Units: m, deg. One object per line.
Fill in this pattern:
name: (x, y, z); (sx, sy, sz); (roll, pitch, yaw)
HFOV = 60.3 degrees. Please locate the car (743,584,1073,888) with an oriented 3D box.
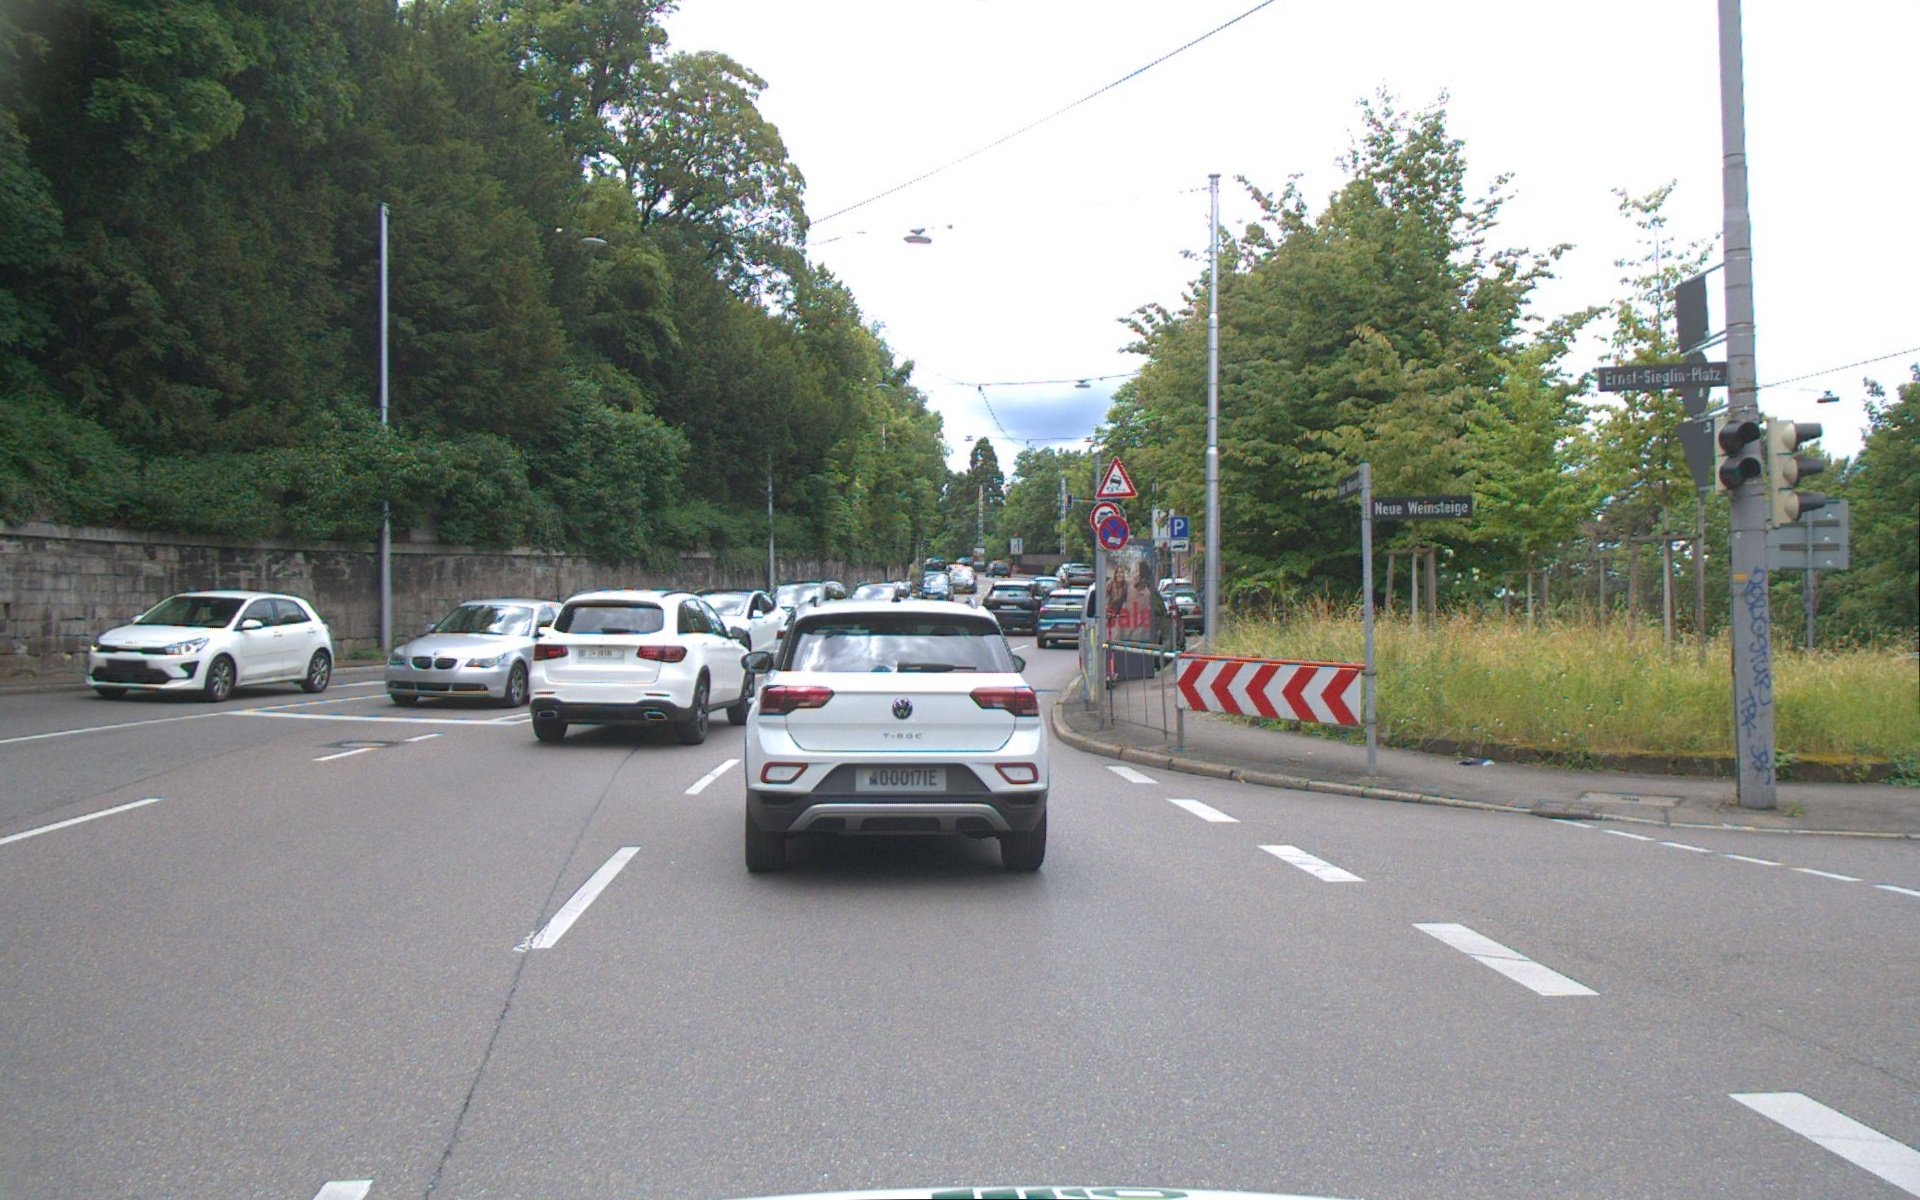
car: (-0.400, 0.737, 10.907); (1.720, 1.580, 4.334); (1, 0, -4)

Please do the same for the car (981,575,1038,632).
car: (1.615, 0.066, 53.008); (1.750, 1.664, 3.738); (1, 2, 3)

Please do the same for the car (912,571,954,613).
car: (-1.329, -0.422, 82.910); (1.697, 2.049, 3.934); (0, 1, 5)

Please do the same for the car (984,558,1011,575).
car: (3.359, -3.024, 148.316); (1.618, 1.476, 3.535); (0, 1, -13)

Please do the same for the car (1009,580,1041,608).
car: (3.460, -0.324, 88.103); (1.467, 1.350, 3.858); (1, 2, 5)

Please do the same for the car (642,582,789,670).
car: (-5.041, 0.509, 34.703); (1.951, 1.665, 4.401); (2, 0, 6)

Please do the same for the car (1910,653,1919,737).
car: (17.844, 1.626, 27.857); (1.680, 1.511, 4.002); (-1, -2, 6)

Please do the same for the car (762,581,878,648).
car: (-3.550, 0.337, 42.746); (1.853, 1.594, 4.483); (2, 1, 10)

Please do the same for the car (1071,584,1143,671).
car: (3.215, 0.547, 35.719); (1.463, 1.779, 3.120); (0, 1, 7)

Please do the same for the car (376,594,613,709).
car: (-6.719, 0.679, 24.418); (1.719, 1.467, 4.483); (2, 1, 7)

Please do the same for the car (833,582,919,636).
car: (-2.442, 0.233, 49.036); (1.778, 1.465, 4.066); (1, 2, 9)

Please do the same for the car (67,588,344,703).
car: (-10.454, 0.567, 23.268); (1.603, 1.430, 4.068); (2, 1, 7)

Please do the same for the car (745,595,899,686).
car: (-2.535, 0.722, 31.608); (1.825, 1.561, 4.780); (1, 0, 9)

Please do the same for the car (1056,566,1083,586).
car: (8.246, -1.792, 124.763); (1.614, 1.476, 3.545); (0, 1, -3)

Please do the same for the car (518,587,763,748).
car: (-3.583, 0.702, 19.443); (1.820, 1.634, 4.672); (1, 0, 2)

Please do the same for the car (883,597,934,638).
car: (-1.991, 0.694, 65.073); (1.615, 1.544, 3.853); (1, 0, 4)

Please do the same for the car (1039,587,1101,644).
car: (3.110, 0.394, 46.259); (1.594, 1.444, 3.858); (1, 1, 5)

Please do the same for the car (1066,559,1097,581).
car: (8.138, -1.982, 110.851); (1.614, 1.476, 3.544); (0, 1, -4)

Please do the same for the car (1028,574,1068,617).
car: (3.990, -0.196, 75.365); (1.600, 1.851, 4.001); (-2, 0, 1)

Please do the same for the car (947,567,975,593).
car: (0.062, -1.225, 100.677); (1.613, 1.476, 3.547); (0, 2, 1)
